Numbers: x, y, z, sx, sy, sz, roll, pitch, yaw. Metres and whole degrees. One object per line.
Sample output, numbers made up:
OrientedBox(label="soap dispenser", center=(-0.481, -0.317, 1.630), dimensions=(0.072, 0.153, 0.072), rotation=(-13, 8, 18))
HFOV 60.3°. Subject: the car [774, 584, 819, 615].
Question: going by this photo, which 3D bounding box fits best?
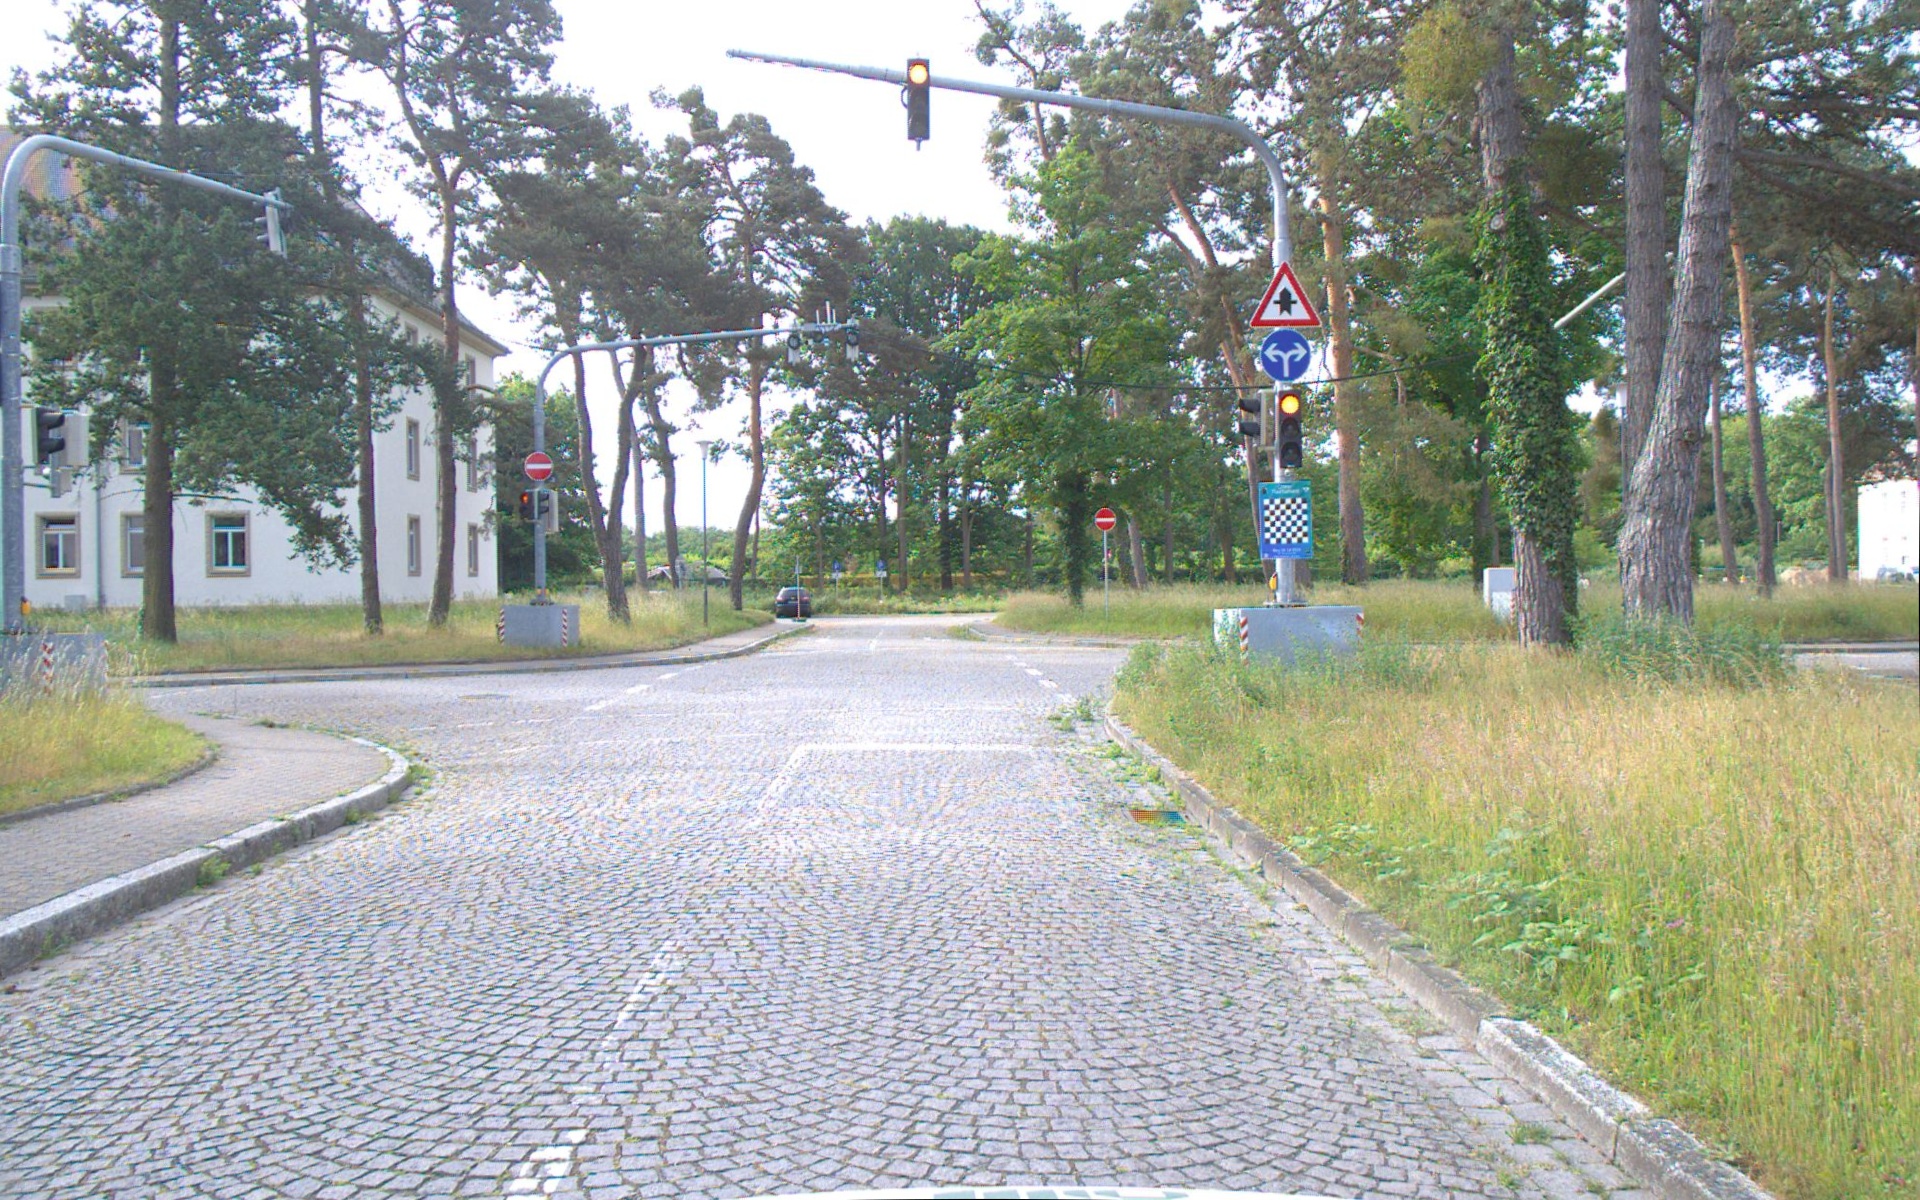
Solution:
OrientedBox(label="car", center=(-8.502, -0.041, 86.193), dimensions=(1.953, 1.534, 3.999), rotation=(1, 1, -1))
